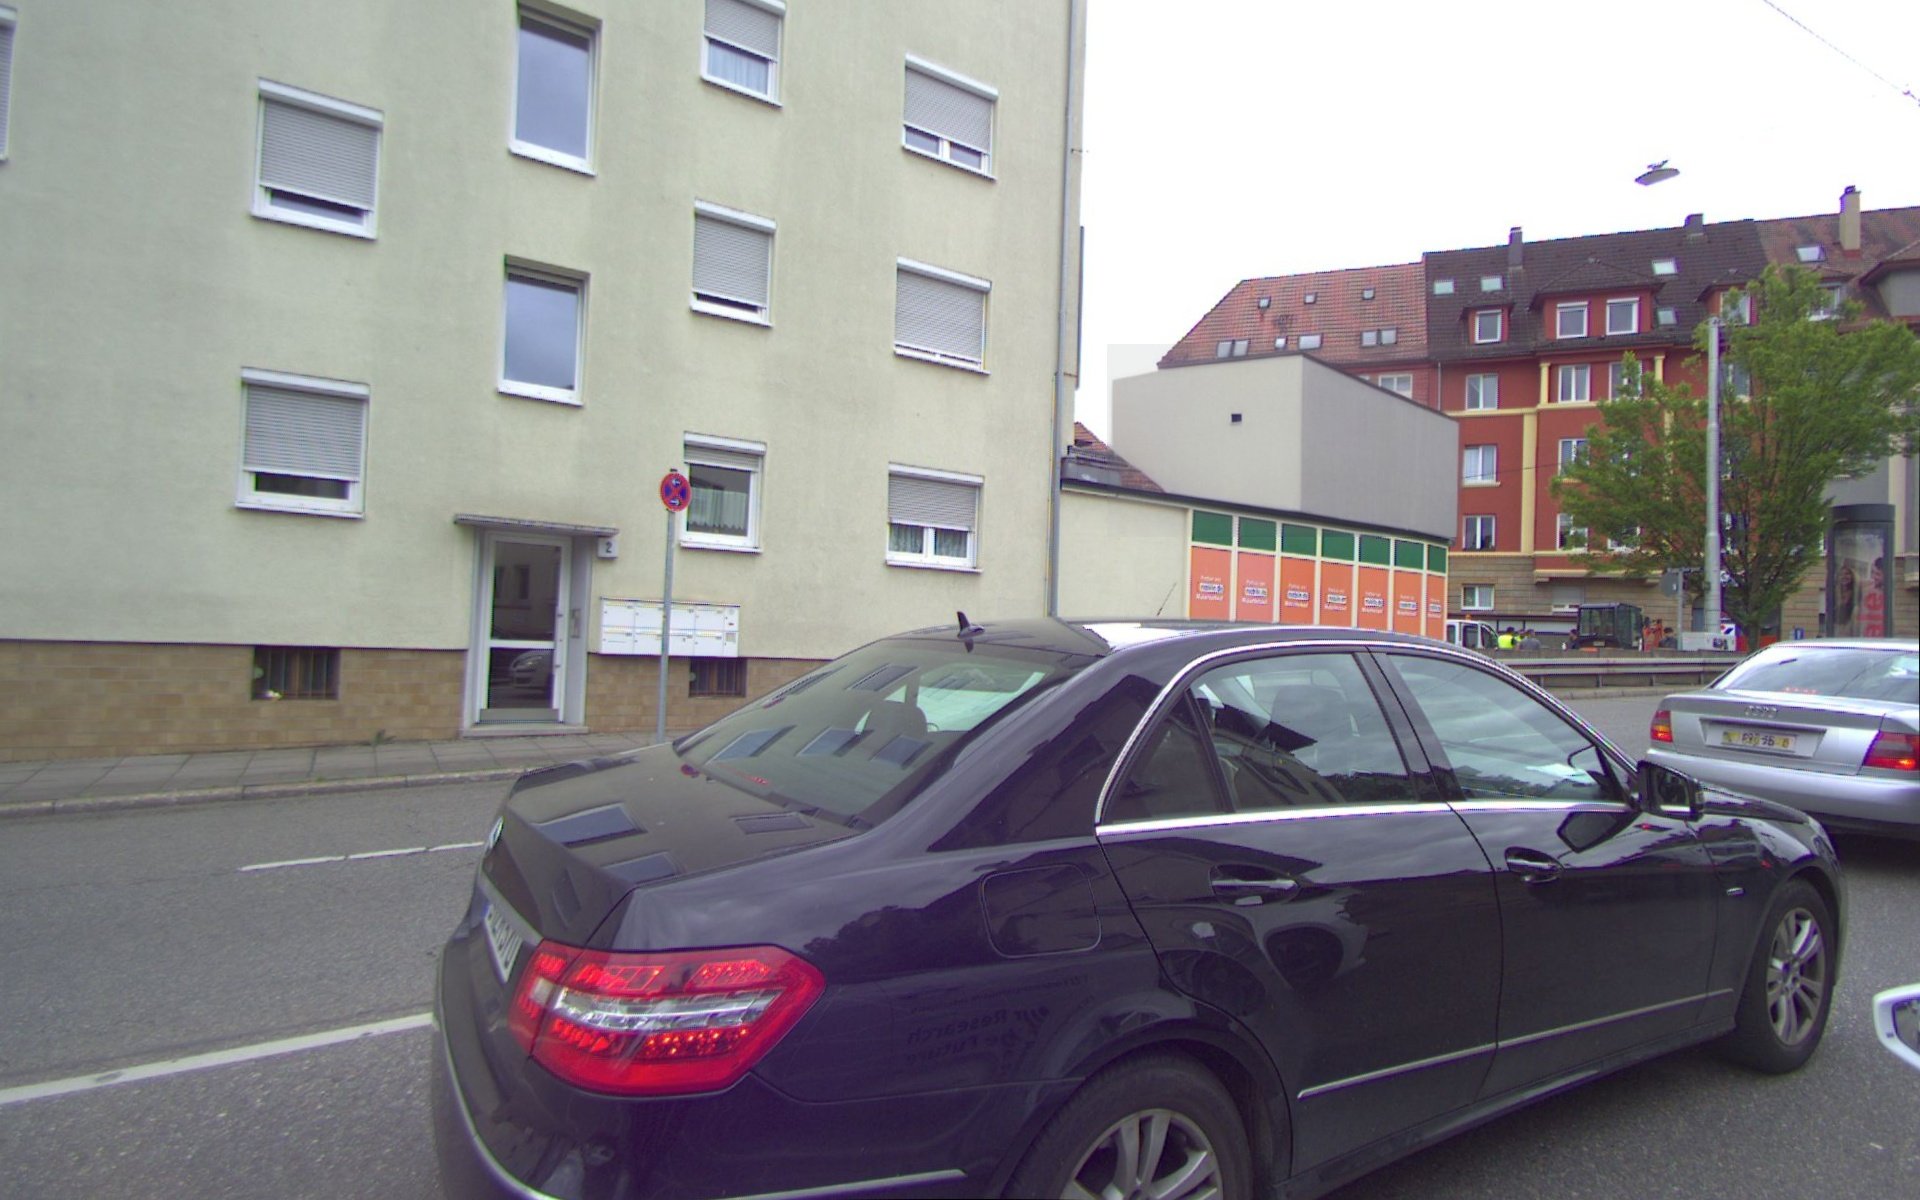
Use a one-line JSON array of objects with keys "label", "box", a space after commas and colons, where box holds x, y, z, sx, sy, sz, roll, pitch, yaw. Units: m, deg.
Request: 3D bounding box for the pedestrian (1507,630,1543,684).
[{"label": "pedestrian", "box": [14.678, 1.465, 26.126, 0.613, 1.381, 0.602, 0, -1, 4]}]

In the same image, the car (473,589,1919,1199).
[{"label": "car", "box": [1.084, 0.774, 3.390, 4.785, 1.447, 1.984, 1, -2, -30]}]

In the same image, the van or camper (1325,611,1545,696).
[{"label": "van or camper", "box": [14.541, 1.565, 31.027, 5.894, 2.369, 2.686, 0, -1, 26]}]

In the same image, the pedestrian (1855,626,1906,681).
[{"label": "pedestrian", "box": [26.521, 1.526, 28.953, 0.723, 1.567, 0.795, 0, -1, 3]}]

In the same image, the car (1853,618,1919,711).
[{"label": "car", "box": [17.730, 1.125, 17.646, 4.033, 1.541, 1.764, 2, -3, -28]}]

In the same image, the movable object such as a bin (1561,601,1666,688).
[{"label": "movable object such as a bin", "box": [16.560, 1.102, 25.390, 3.510, 2.040, 1.363, 2, -2, -42]}]

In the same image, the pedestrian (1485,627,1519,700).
[{"label": "pedestrian", "box": [15.418, 1.788, 28.588, 0.811, 2.040, 0.679, 0, 0, 26]}]

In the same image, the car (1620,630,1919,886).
[{"label": "car", "box": [6.712, 0.916, 7.079, 4.073, 1.383, 1.623, 1, -2, -26]}]

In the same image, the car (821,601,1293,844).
[{"label": "car", "box": [0.864, 0.818, 7.988, 3.564, 1.502, 1.577, 2, 0, -36]}]
